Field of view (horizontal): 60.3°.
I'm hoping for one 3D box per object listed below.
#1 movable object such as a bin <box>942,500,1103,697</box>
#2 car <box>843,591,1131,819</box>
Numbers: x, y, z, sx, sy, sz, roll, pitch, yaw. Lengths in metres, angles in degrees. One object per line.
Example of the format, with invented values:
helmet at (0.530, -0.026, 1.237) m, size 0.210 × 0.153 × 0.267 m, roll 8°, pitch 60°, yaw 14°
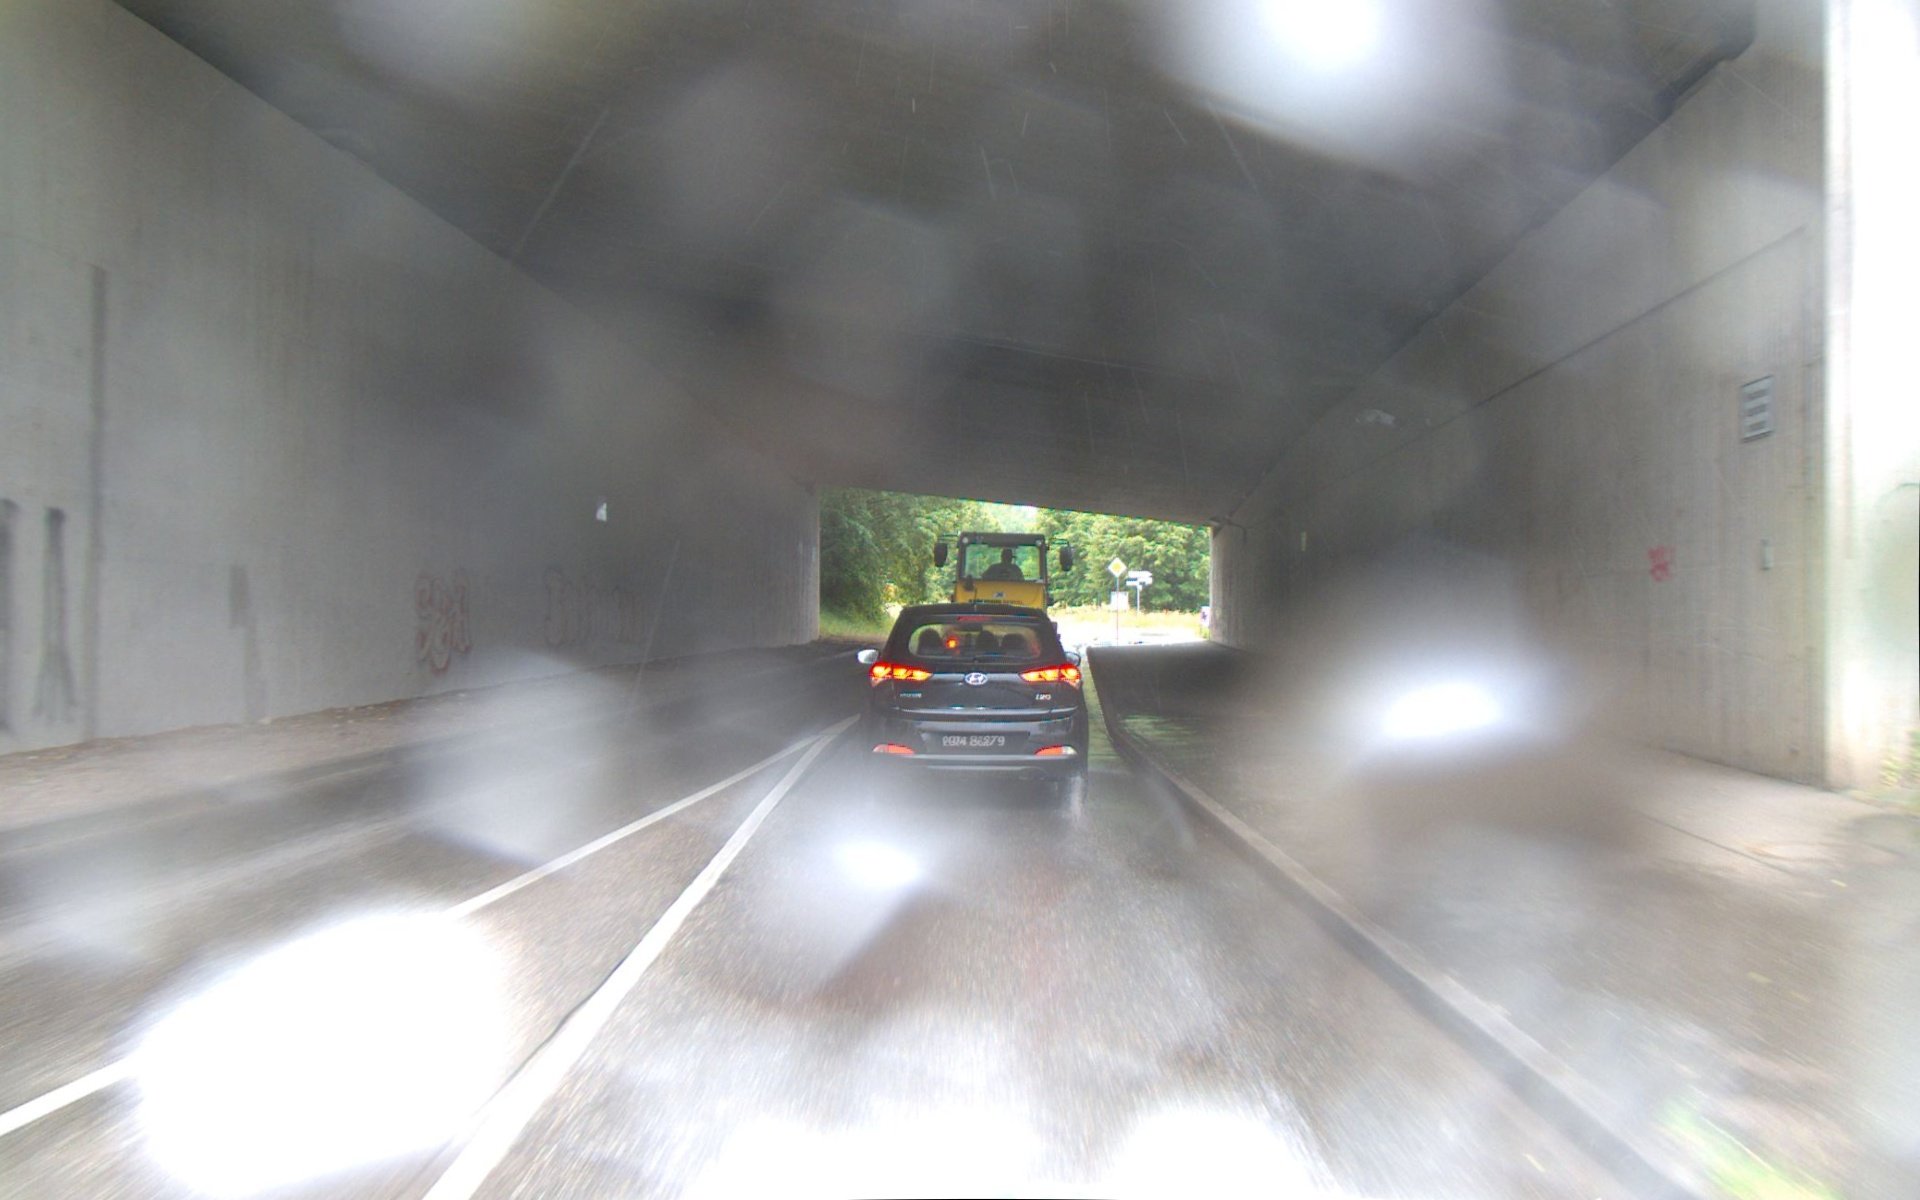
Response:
movable object such as a bin at (0.922, -0.016, 26.759) m, size 2.199 × 2.716 × 6.627 m, roll 2°, pitch 0°, yaw 1°
car at (0.212, 0.737, 13.502) m, size 1.952 × 1.513 × 4.000 m, roll 2°, pitch 0°, yaw 1°
